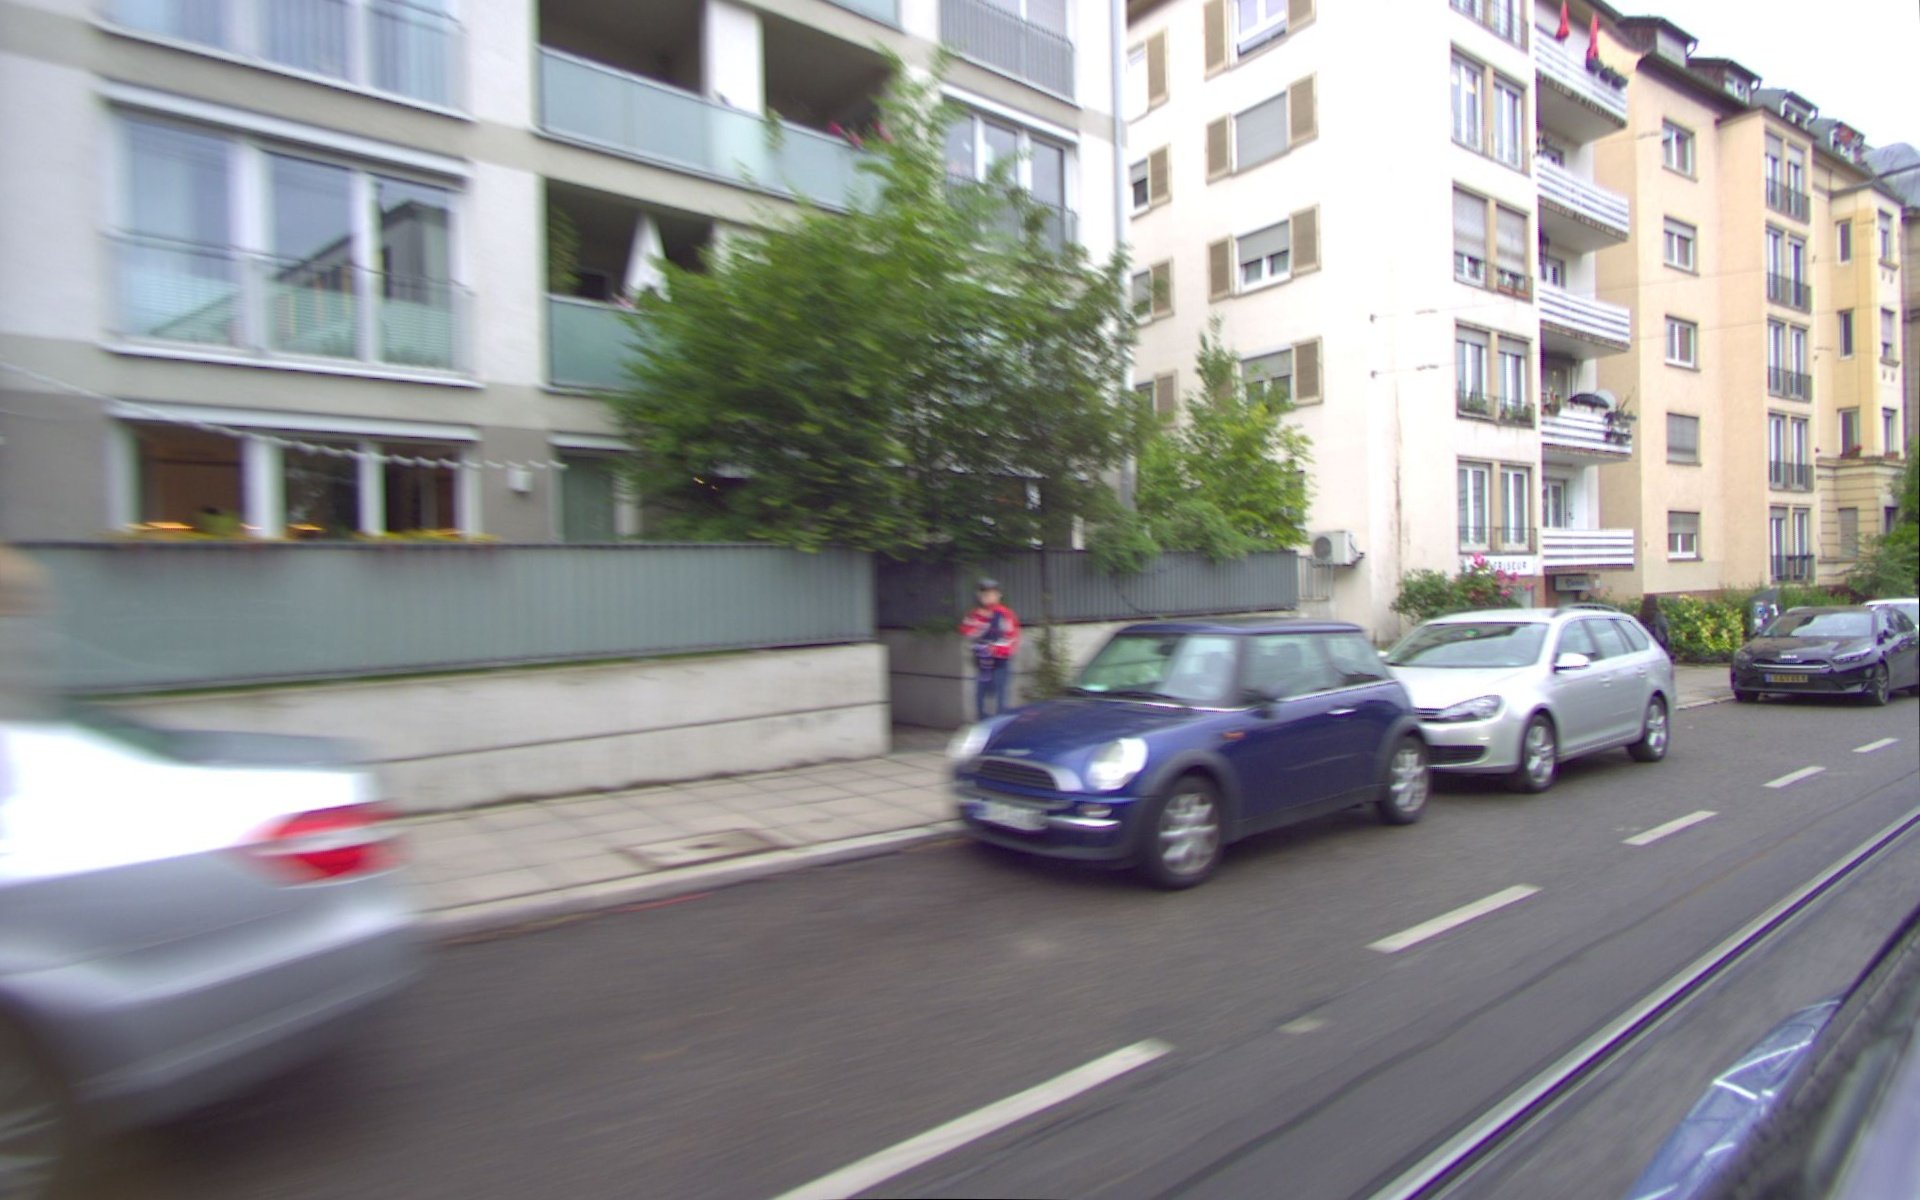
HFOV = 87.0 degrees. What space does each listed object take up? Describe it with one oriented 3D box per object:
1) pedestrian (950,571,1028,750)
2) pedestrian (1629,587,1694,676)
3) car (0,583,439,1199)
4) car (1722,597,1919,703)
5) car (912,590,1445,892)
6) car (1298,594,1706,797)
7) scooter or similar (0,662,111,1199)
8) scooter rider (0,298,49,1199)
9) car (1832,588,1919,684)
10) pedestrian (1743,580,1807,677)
[{"bbox_3d":[0.279,0.541,9.520,0.575,1.606,0.566,1,0,18],"label":"pedestrian"},{"bbox_3d":[13.036,0.561,18.802,0.897,1.588,0.668,0,2,-33],"label":"pedestrian"},{"bbox_3d":[-3.818,0.725,1.945,4.705,1.535,1.861,1,-2,-41],"label":"car"},{"bbox_3d":[13.883,0.708,15.920,4.024,1.471,1.800,0,-2,-34],"label":"car"},{"bbox_3d":[1.543,0.705,6.579,3.451,1.442,1.599,1,-2,-39],"label":"car"},{"bbox_3d":[5.166,0.735,9.423,4.309,1.486,1.722,1,-2,-37],"label":"car"},{"bbox_3d":[-2.042,0.772,1.596,1.071,1.277,0.644,0,-1,-41],"label":"scooter or similar"},{"bbox_3d":[-1.975,0.459,1.674,0.678,1.882,0.644,0,-2,-41],"label":"scooter rider"},{"bbox_3d":[17.858,0.625,18.747,3.796,1.643,1.798,0,-2,-37],"label":"car"},{"bbox_3d":[15.154,0.518,18.827,0.652,1.734,0.718,1,2,-33],"label":"pedestrian"}]
